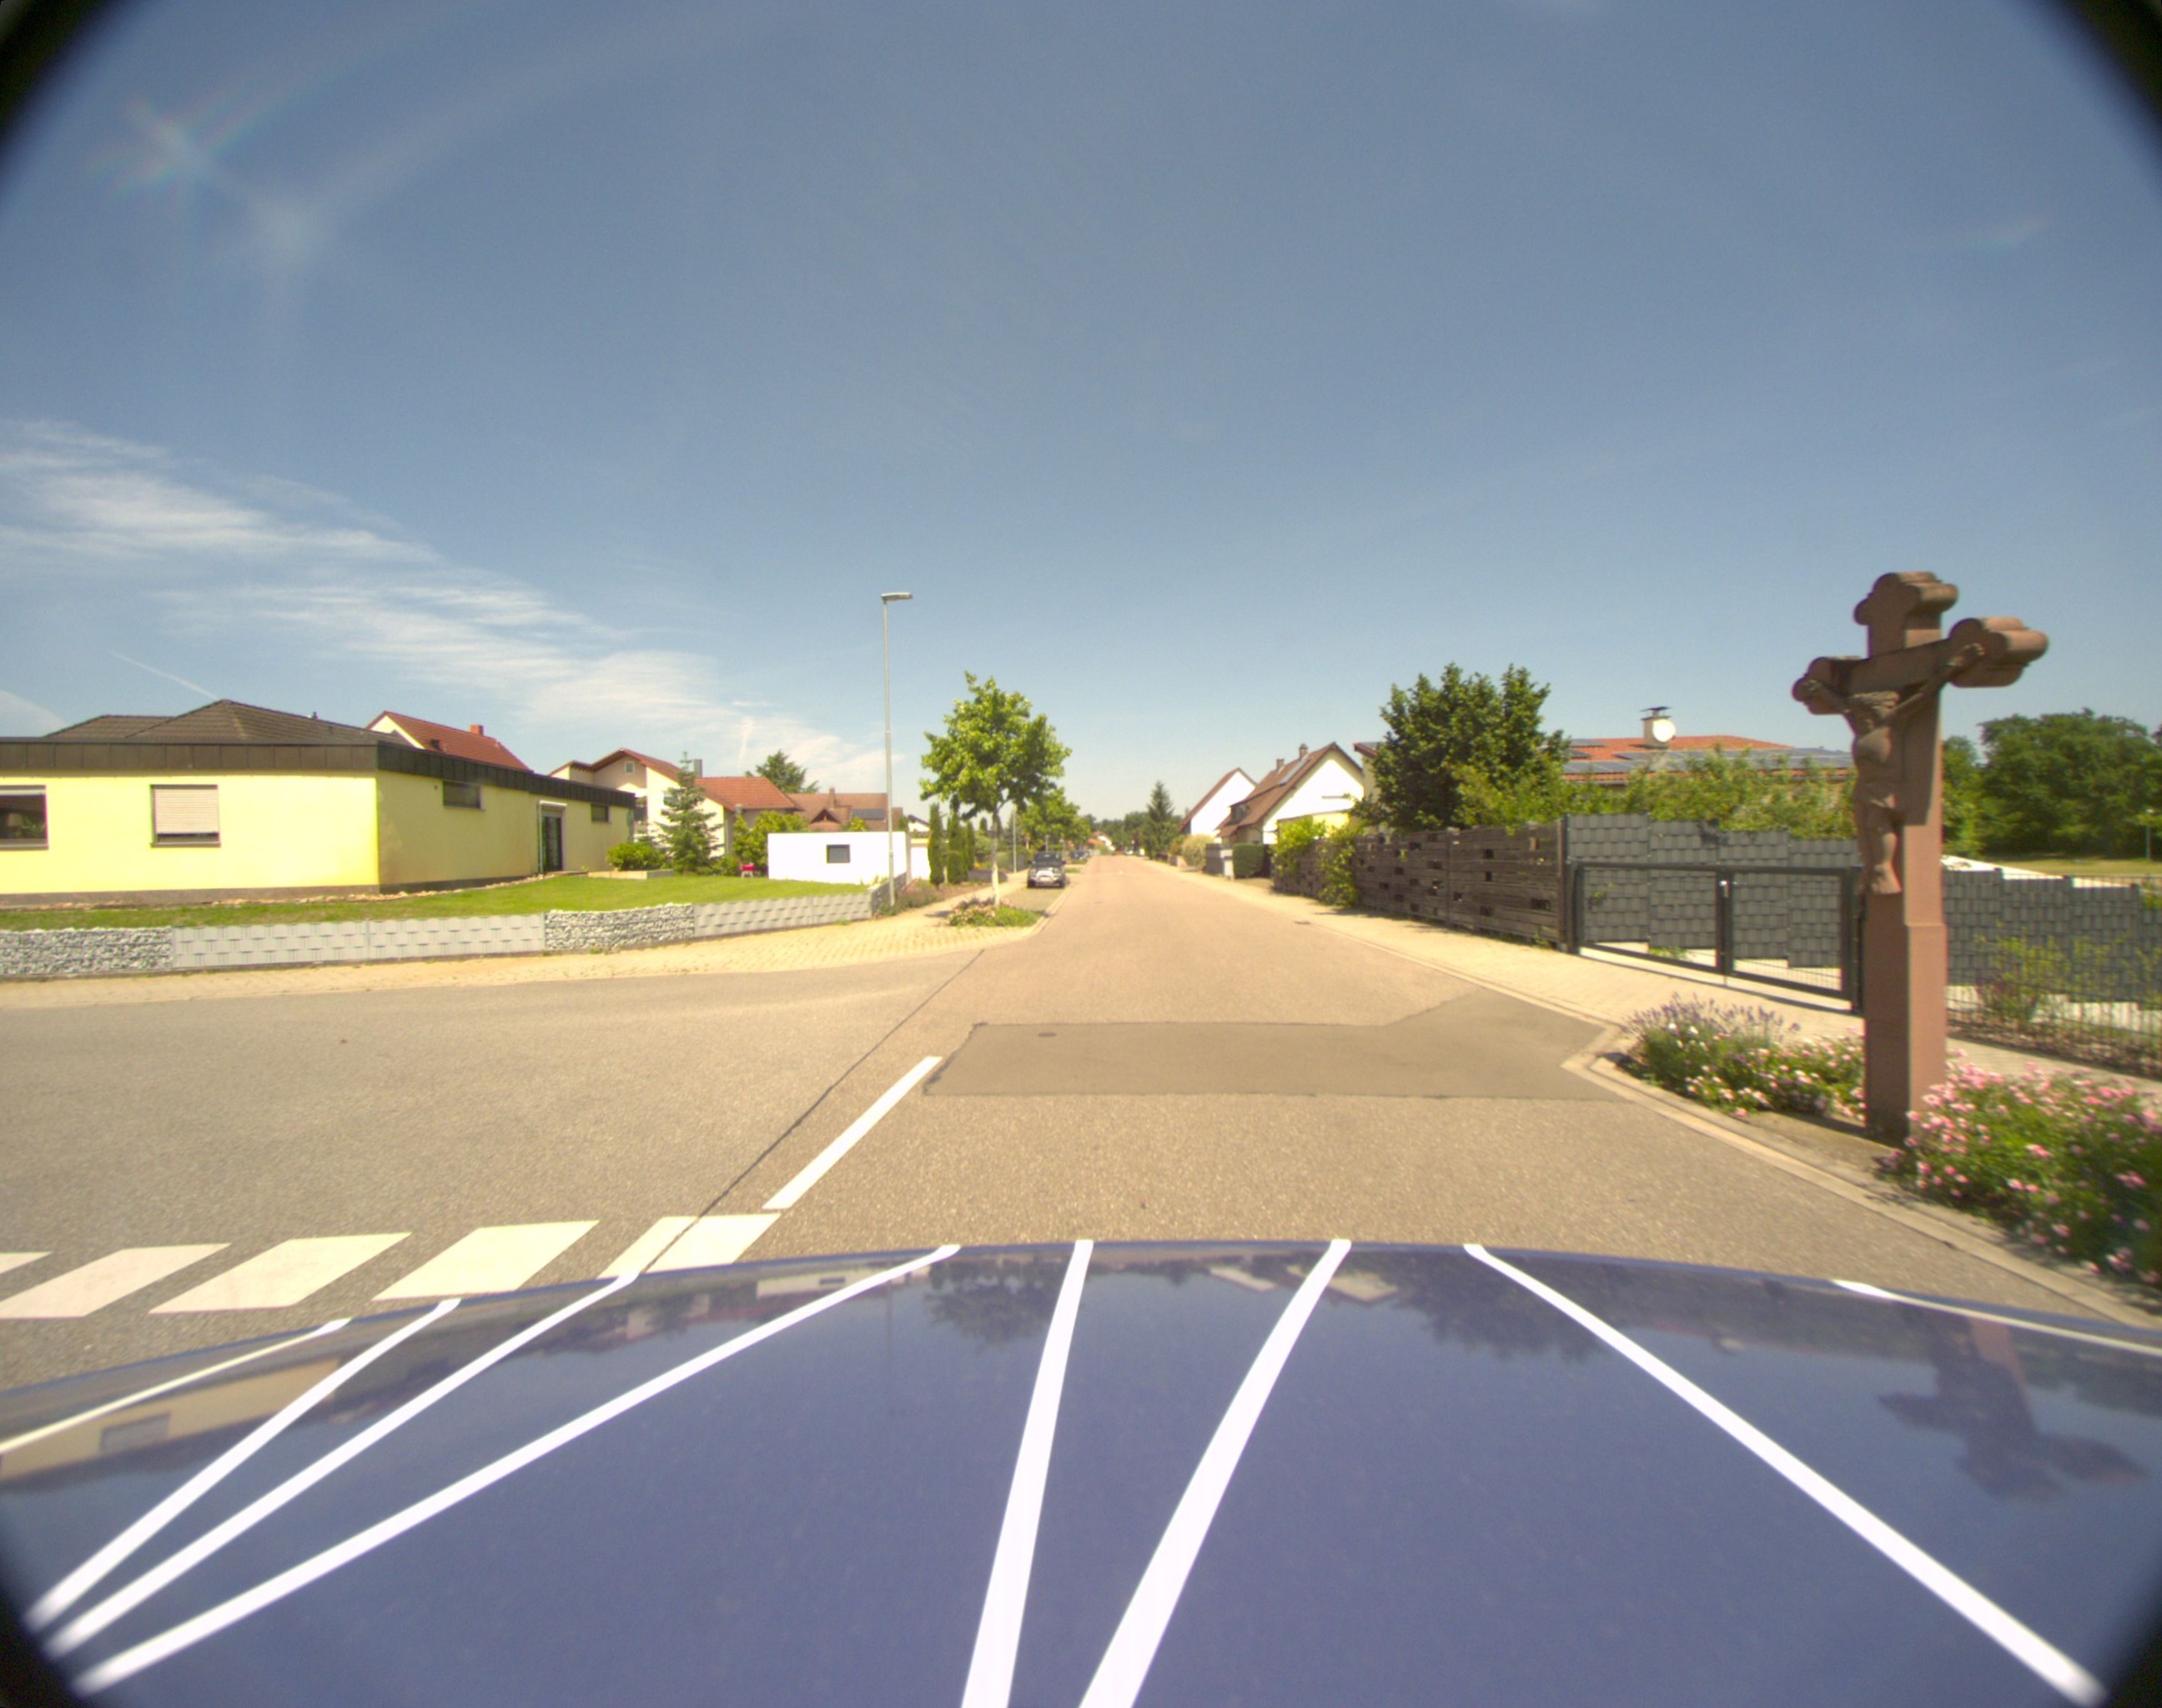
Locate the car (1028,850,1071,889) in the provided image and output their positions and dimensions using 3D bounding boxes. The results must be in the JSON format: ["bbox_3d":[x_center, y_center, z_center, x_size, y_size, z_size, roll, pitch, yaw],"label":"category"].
[{"bbox_3d":[-1.395,0.673,35.095,1.597,1.630,3.803,0,1,4],"label":"car"}]
